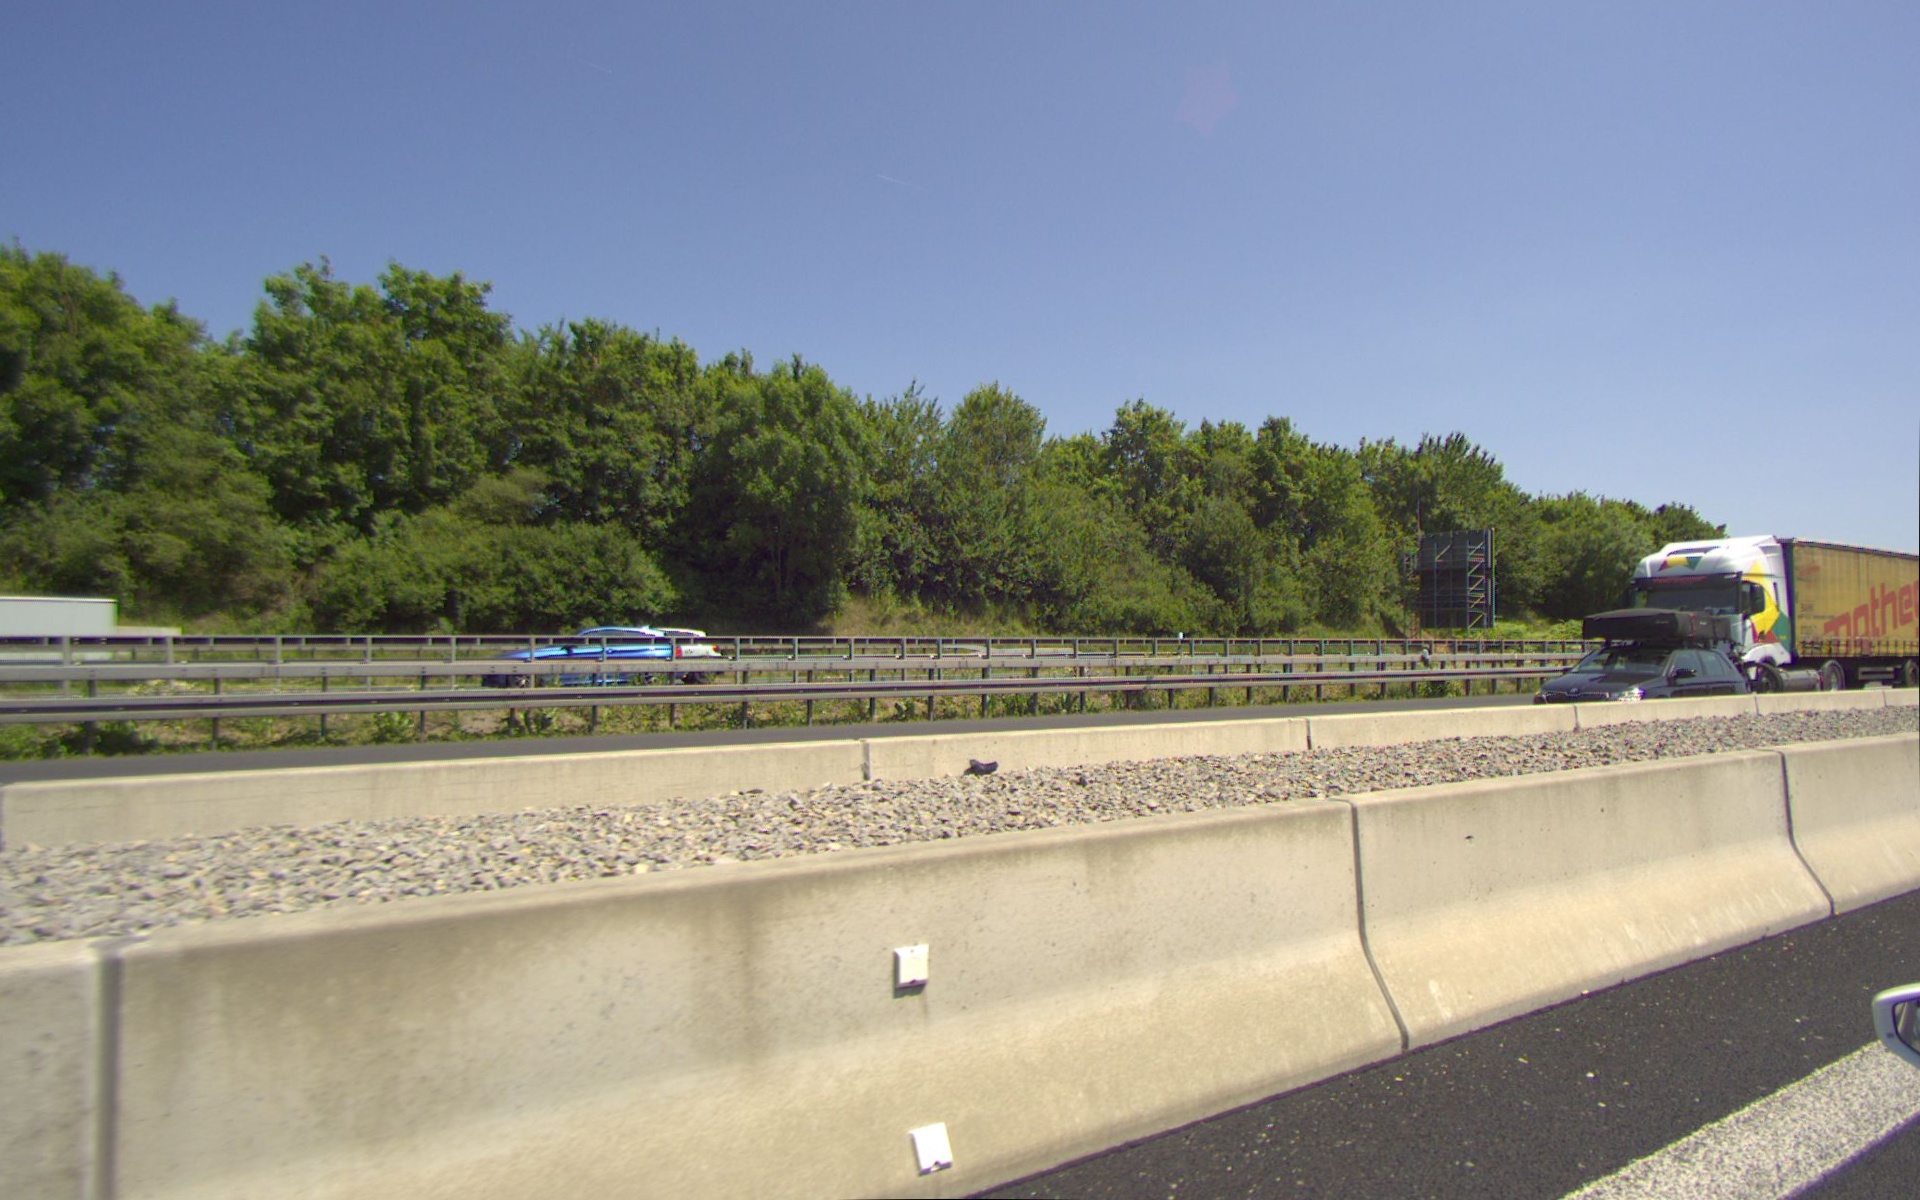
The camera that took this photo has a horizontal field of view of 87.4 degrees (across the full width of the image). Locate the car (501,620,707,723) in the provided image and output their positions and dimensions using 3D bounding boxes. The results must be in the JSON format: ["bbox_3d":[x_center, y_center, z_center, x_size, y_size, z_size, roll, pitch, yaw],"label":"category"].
[{"bbox_3d":[-7.911,1.543,22.405,3.958,2.040,1.982,2,0,-33],"label":"car"}]

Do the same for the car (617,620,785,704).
[{"bbox_3d":[-6.928,1.619,26.918,3.953,2.040,1.984,2,0,-30],"label":"car"}]

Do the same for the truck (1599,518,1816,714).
[{"bbox_3d":[18.329,0.415,24.628,4.501,4.345,2.692,2,0,-31],"label":"truck"}]

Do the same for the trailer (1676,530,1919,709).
[{"bbox_3d":[25.599,0.679,28.985,13.654,4.330,2.654,2,0,-31],"label":"trailer"}]

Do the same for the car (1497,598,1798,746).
[{"bbox_3d":[11.030,1.078,16.012,5.284,2.040,1.909,2,-2,-30],"label":"car"}]
